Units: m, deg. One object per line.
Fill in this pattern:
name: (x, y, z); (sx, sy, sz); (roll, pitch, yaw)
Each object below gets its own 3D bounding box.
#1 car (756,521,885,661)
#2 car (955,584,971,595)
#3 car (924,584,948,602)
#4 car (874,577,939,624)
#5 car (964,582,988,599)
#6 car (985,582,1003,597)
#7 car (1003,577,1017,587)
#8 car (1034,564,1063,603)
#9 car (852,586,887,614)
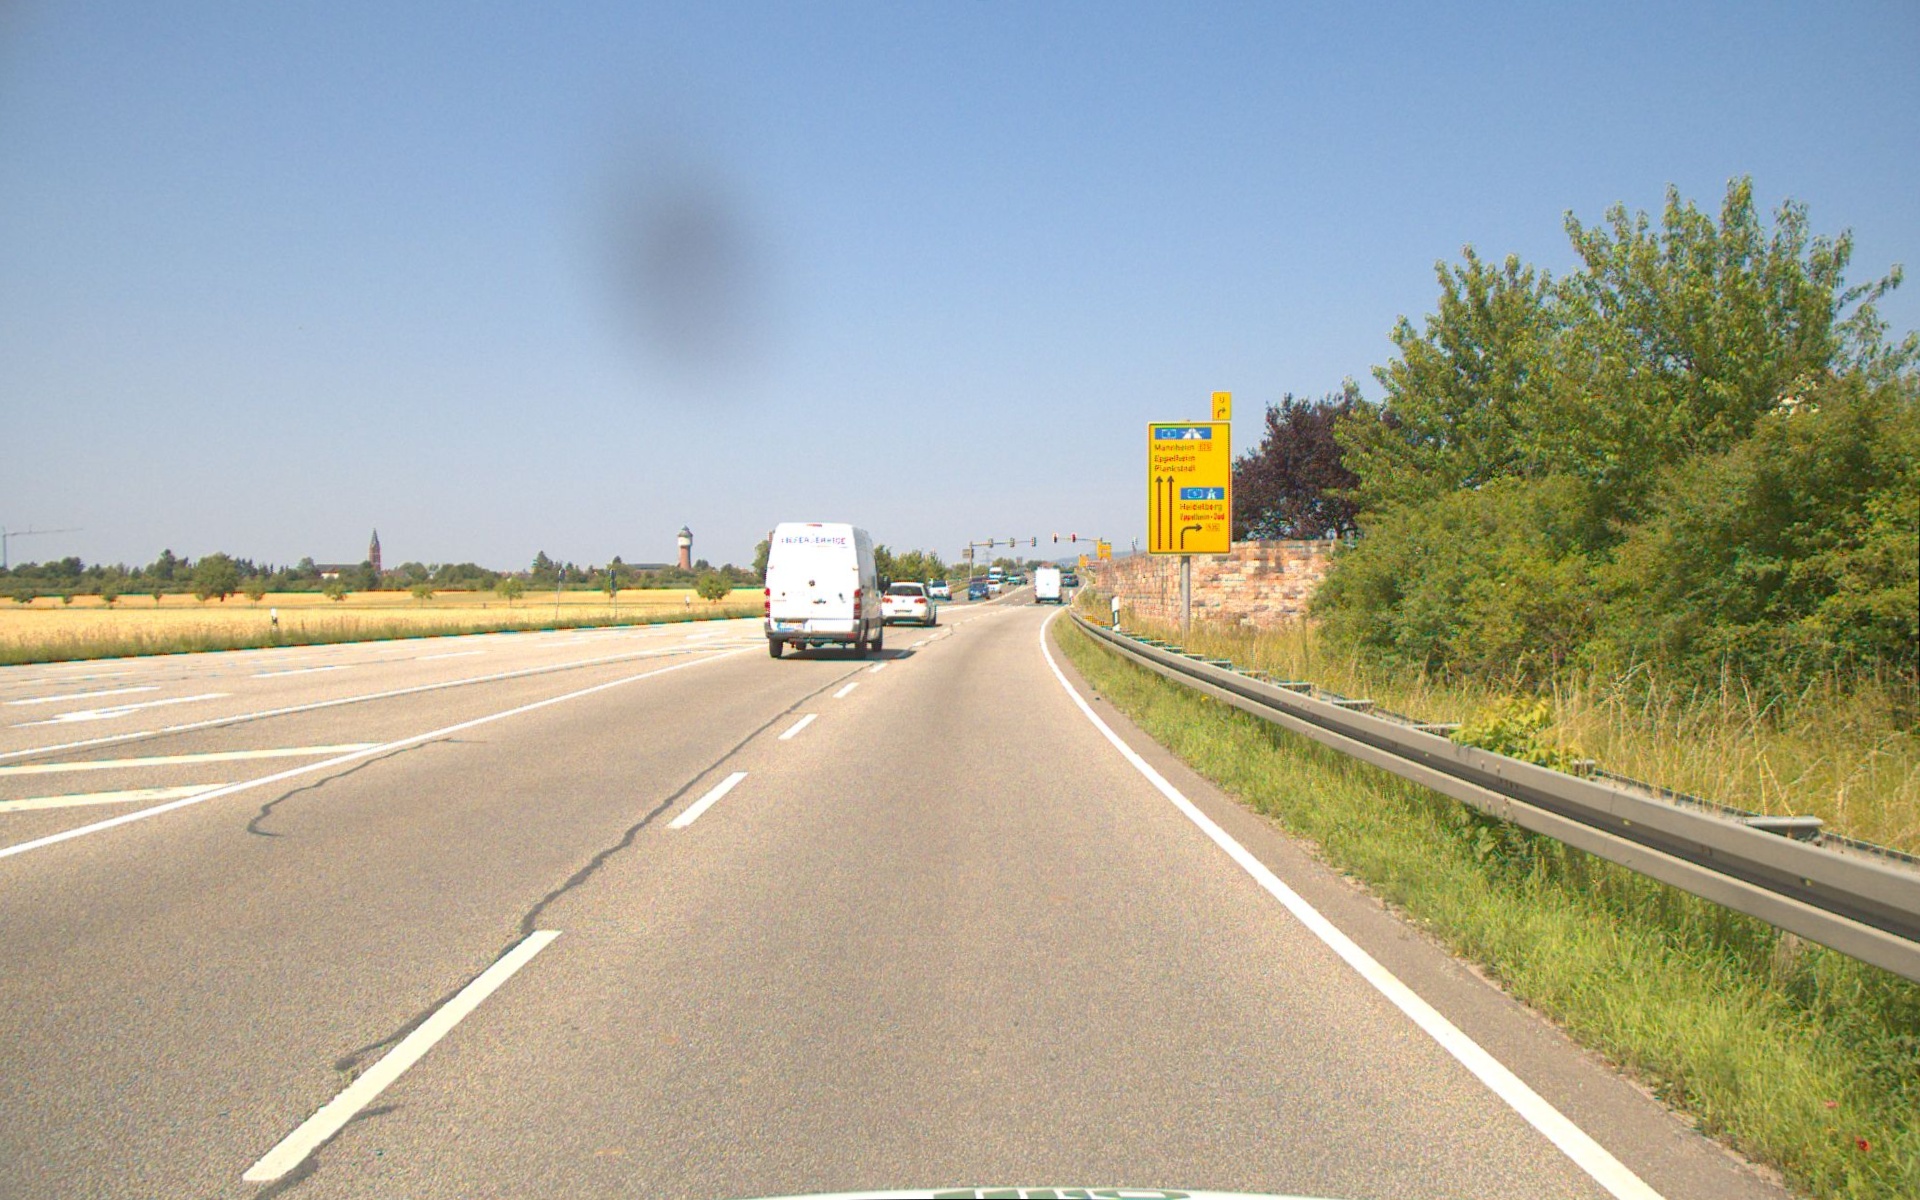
car: (-2.807, -0.211, 34.612); (1.997, 2.665, 5.742); (1, 1, 2)
car: (0.405, -1.320, 212.024); (1.831, 1.277, 4.282); (1, 0, 2)
car: (-2.115, -0.617, 144.911); (1.712, 1.467, 4.084); (-1, 0, 4)
car: (-1.817, -0.007, 57.309); (1.761, 1.534, 4.199); (-1, 1, 4)
car: (1.386, -0.817, 141.984); (1.712, 1.467, 4.084); (-1, 0, 4)
car: (3.682, -1.121, 178.269); (1.712, 1.467, 4.084); (1, 0, 4)
car: (7.414, -2.638, 245.935); (1.818, 1.448, 4.003); (-1, 0, 6)
car: (6.605, -1.189, 123.360); (1.951, 2.742, 4.972); (1, -1, 4)
car: (-5.683, -0.001, 104.275); (1.630, 1.706, 4.465); (-1, 0, 4)
